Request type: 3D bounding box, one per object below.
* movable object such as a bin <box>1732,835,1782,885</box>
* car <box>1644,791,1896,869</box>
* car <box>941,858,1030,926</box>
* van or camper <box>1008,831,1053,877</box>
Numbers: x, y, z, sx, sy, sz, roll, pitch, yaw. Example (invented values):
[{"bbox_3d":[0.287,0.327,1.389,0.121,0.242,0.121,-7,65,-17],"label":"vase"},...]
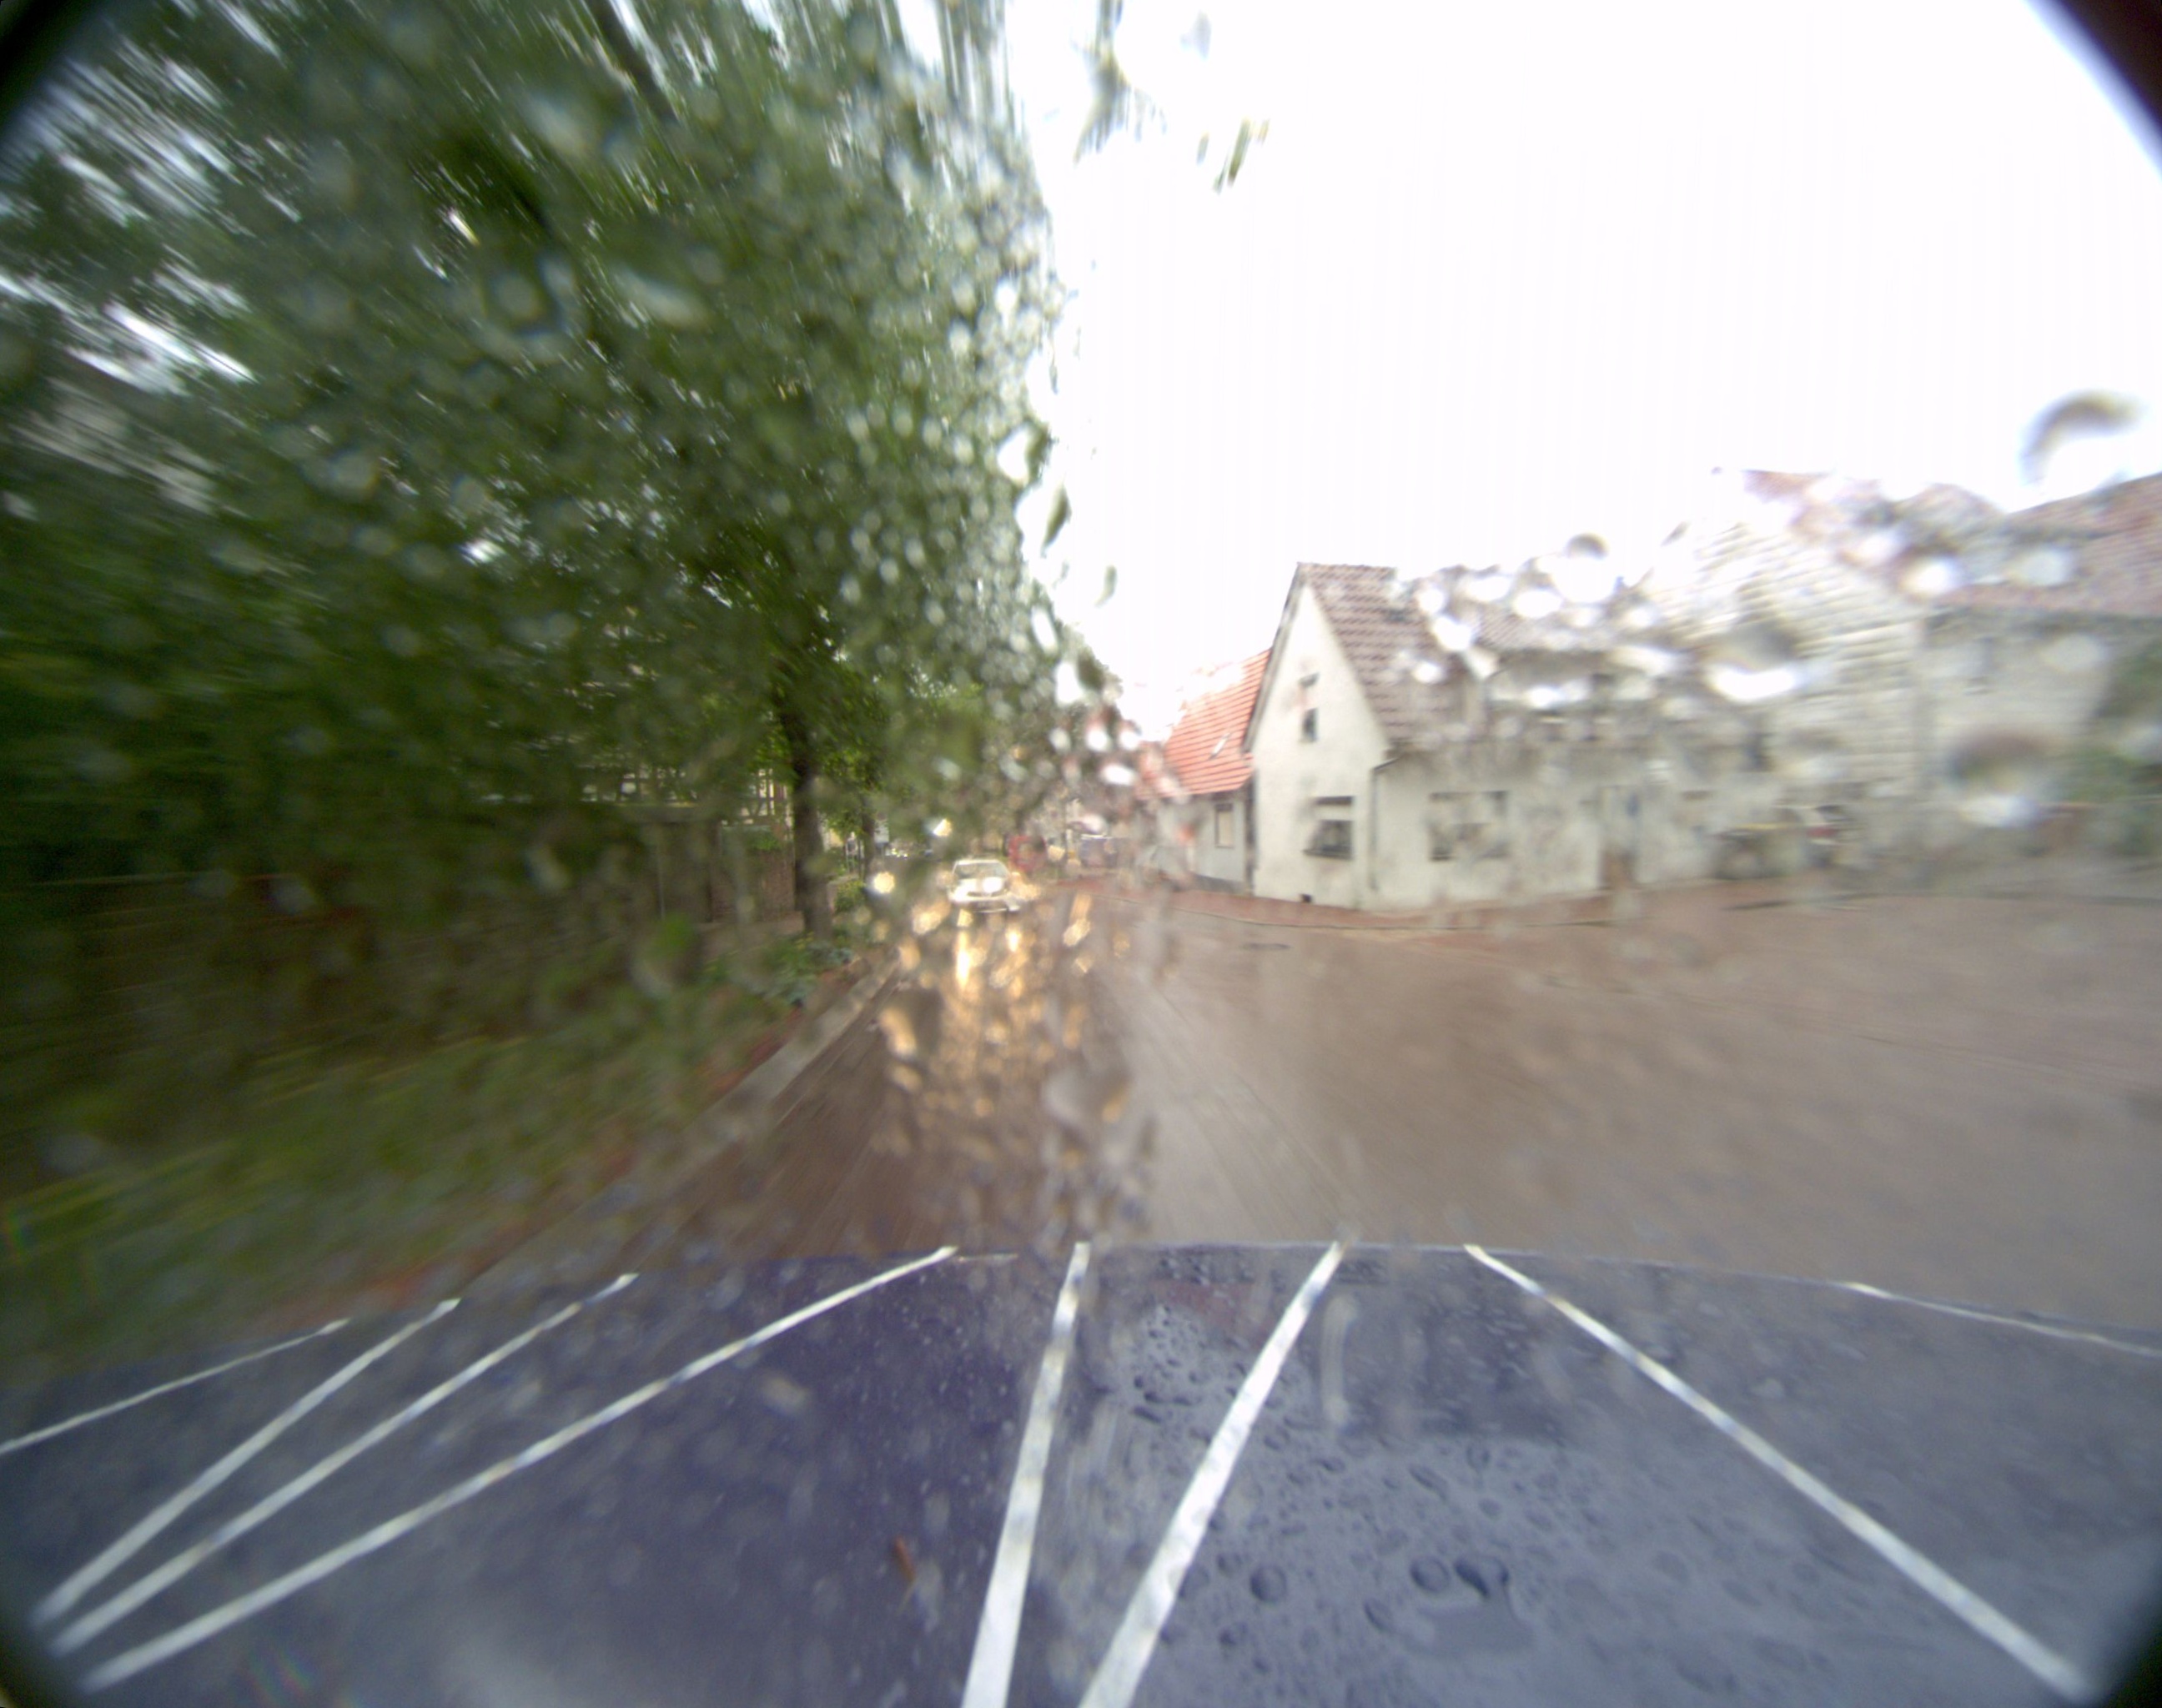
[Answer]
[{"bbox_3d":[13.148,0.108,14.792,0.518,0.935,0.500,-2,1,-11],"label":"movable object such as a bin"},{"bbox_3d":[15.469,-0.493,17.379,1.727,1.524,3.995,-2,1,-12],"label":"car"},{"bbox_3d":[-2.588,0.883,19.739,1.861,1.427,4.012,-3,1,-12],"label":"car"},{"bbox_3d":[-3.074,-0.033,45.403,2.000,2.519,4.739,-2,1,-11],"label":"van or camper"}]
